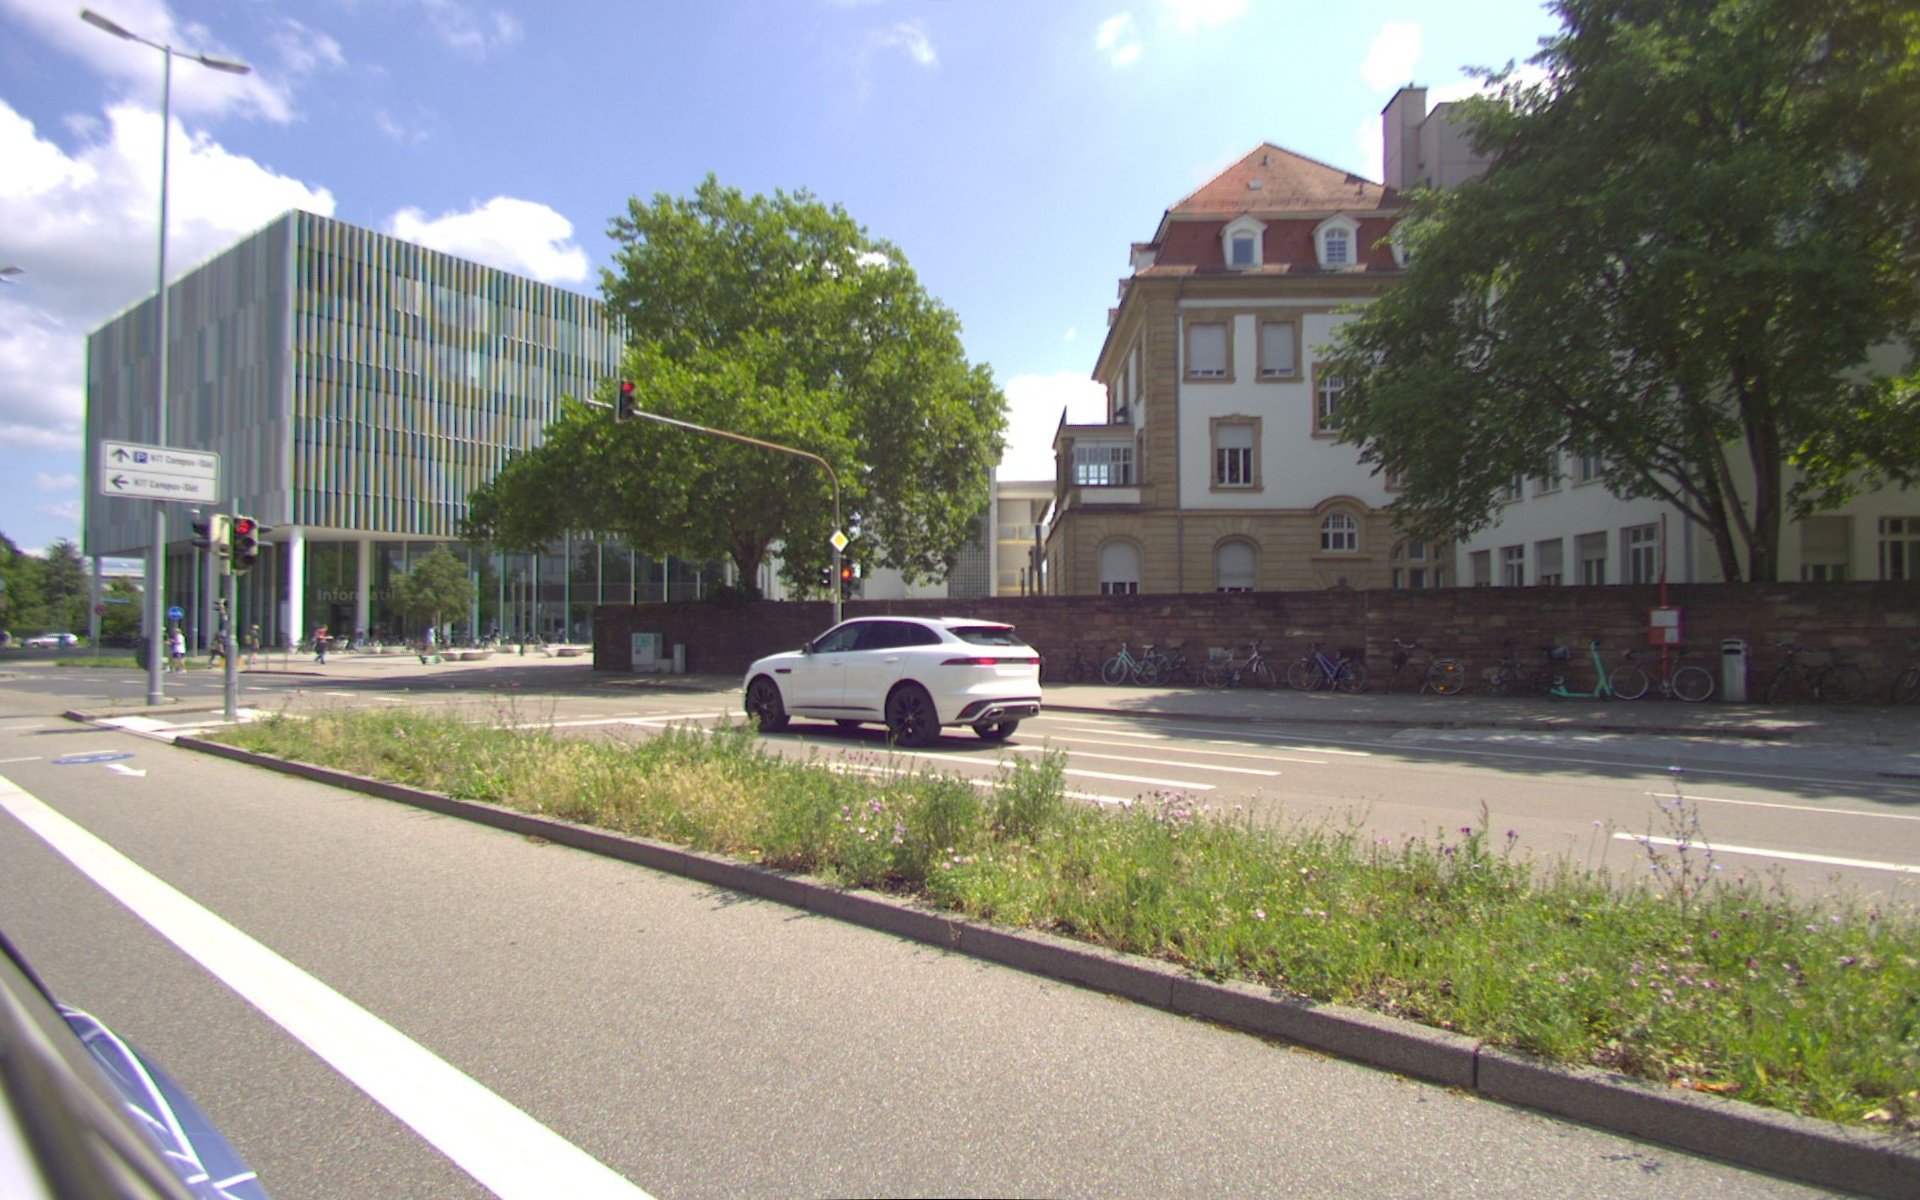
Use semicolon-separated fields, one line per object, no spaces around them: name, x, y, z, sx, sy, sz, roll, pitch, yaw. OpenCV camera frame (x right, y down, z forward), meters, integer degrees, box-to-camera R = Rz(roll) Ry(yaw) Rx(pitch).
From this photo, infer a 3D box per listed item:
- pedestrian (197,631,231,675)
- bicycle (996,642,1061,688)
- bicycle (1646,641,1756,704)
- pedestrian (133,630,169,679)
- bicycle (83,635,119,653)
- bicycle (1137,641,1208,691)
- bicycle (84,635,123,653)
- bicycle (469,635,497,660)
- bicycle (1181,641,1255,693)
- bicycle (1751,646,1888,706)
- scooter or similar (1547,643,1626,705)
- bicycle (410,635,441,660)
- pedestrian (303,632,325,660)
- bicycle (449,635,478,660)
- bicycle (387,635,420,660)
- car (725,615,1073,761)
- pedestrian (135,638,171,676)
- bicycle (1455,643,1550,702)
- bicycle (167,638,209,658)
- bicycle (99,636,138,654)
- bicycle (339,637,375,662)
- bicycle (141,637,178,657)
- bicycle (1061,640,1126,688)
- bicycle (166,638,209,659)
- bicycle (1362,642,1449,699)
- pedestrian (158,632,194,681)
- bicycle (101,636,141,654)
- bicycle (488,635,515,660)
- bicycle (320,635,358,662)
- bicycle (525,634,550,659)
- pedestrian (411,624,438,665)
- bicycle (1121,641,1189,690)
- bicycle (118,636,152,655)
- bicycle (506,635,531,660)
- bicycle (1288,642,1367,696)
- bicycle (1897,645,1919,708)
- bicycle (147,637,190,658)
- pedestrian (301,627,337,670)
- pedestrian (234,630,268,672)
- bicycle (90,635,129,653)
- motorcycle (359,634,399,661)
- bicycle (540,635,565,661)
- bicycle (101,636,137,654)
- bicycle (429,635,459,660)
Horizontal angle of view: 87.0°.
pedestrian;-33.867;2.390;45.954;0.965;1.940;0.873;-1;-2;21
bicycle;1.774;1.661;26.223;1.588;1.161;0.616;-2;-2;31
bicycle;13.916;1.347;19.050;1.586;1.152;0.429;-1;-2;27
pedestrian;-32.749;2.187;40.985;1.091;1.940;0.974;1;-2;-38
bicycle;-75.646;3.844;89.117;0.656;1.506;2.274;-2;-2;39
bicycle;4.972;1.547;23.733;1.575;1.161;0.402;-1;-2;7
bicycle;-74.229;3.816;87.709;0.620;1.506;2.480;-2;-2;39
bicycle;-30.430;3.024;64.572;0.983;1.564;3.424;0;-2;-14
bicycle;5.906;1.538;23.209;1.575;1.161;0.402;-1;-2;7
bicycle;15.422;1.346;18.210;1.794;1.016;0.477;-1;-2;30
scooter or similar;11.939;1.398;19.320;1.183;1.161;0.430;-1;-2;19
bicycle;-34.145;3.008;64.688;0.983;1.564;3.424;0;-2;-14
pedestrian;-40.435;2.881;63.384;0.997;1.720;1.214;0;-2;-25
bicycle;-31.763;3.024;64.795;0.983;1.564;3.424;0;-2;-14
bicycle;-35.501;3.000;64.646;1.034;1.564;3.424;0;-2;-14
car;-0.985;1.101;14.062;4.772;1.680;2.049;-2;-3;40
pedestrian;-35.254;2.468;44.207;0.966;1.641;0.872;-1;-2;24
bicycle;10.973;1.450;20.509;1.581;1.161;0.531;-1;-2;18
bicycle;-58.303;3.613;76.470;2.474;1.506;0.731;1;-2;-41
bicycle;-71.169;3.779;85.629;0.620;1.506;2.480;-2;-2;39
bicycle;-38.265;3.115;64.230;0.918;1.505;2.691;0;-2;-6
bicycle;-63.056;3.673;79.763;0.620;1.506;2.173;-2;-2;39
bicycle;3.327;1.580;25.264;1.590;1.161;0.409;-2;-2;34
bicycle;-57.698;3.597;75.616;0.620;1.506;2.421;-2;-2;39
bicycle;9.329;1.461;21.232;1.581;1.161;0.531;-1;-2;18
pedestrian;-31.333;2.239;40.466;1.091;1.940;0.974;1;-2;-36
bicycle;-70.361;3.764;84.858;0.620;1.506;2.480;-2;-2;39
bicycle;-29.326;3.033;64.735;0.983;1.564;3.424;0;-2;-14
bicycle;-39.303;3.034;64.100;0.797;1.656;3.422;0;-2;-10
bicycle;-27.120;2.962;64.982;0.983;1.564;3.424;0;-2;-14
pedestrian;-25.701;2.130;48.602;1.090;1.940;0.975;1;-2;-30
bicycle;4.694;1.568;24.358;1.580;1.161;0.400;-1;-2;17
bicycle;-68.115;3.743;83.569;0.620;1.506;2.045;-2;-2;39
bicycle;-28.215;3.038;64.724;0.983;1.564;3.424;0;-2;-14
bicycle;8.087;1.514;22.313;1.586;1.161;0.399;-1;-2;28
bicycle;17.292;1.301;17.165;1.940;1.055;0.540;-1;-2;28
bicycle;-60.745;3.633;77.701;0.620;1.506;2.480;-2;-2;39
pedestrian;-29.516;2.232;46.600;0.969;1.940;1.097;-1;-2;33
pedestrian;-33.560;2.398;47.920;0.960;1.940;0.877;-1;-2;8
bicycle;-73.350;3.810;87.320;0.620;1.506;2.480;-2;-2;39
motorcycle;-36.934;3.016;64.384;0.956;1.652;3.302;0;-2;-7
bicycle;-25.760;3.024;64.028;0.983;1.564;3.424;0;-2;-14
bicycle;-71.865;3.796;86.469;0.620;1.506;2.301;-2;-2;39
bicycle;-32.986;3.015;64.737;0.983;1.564;3.424;0;-2;-14
